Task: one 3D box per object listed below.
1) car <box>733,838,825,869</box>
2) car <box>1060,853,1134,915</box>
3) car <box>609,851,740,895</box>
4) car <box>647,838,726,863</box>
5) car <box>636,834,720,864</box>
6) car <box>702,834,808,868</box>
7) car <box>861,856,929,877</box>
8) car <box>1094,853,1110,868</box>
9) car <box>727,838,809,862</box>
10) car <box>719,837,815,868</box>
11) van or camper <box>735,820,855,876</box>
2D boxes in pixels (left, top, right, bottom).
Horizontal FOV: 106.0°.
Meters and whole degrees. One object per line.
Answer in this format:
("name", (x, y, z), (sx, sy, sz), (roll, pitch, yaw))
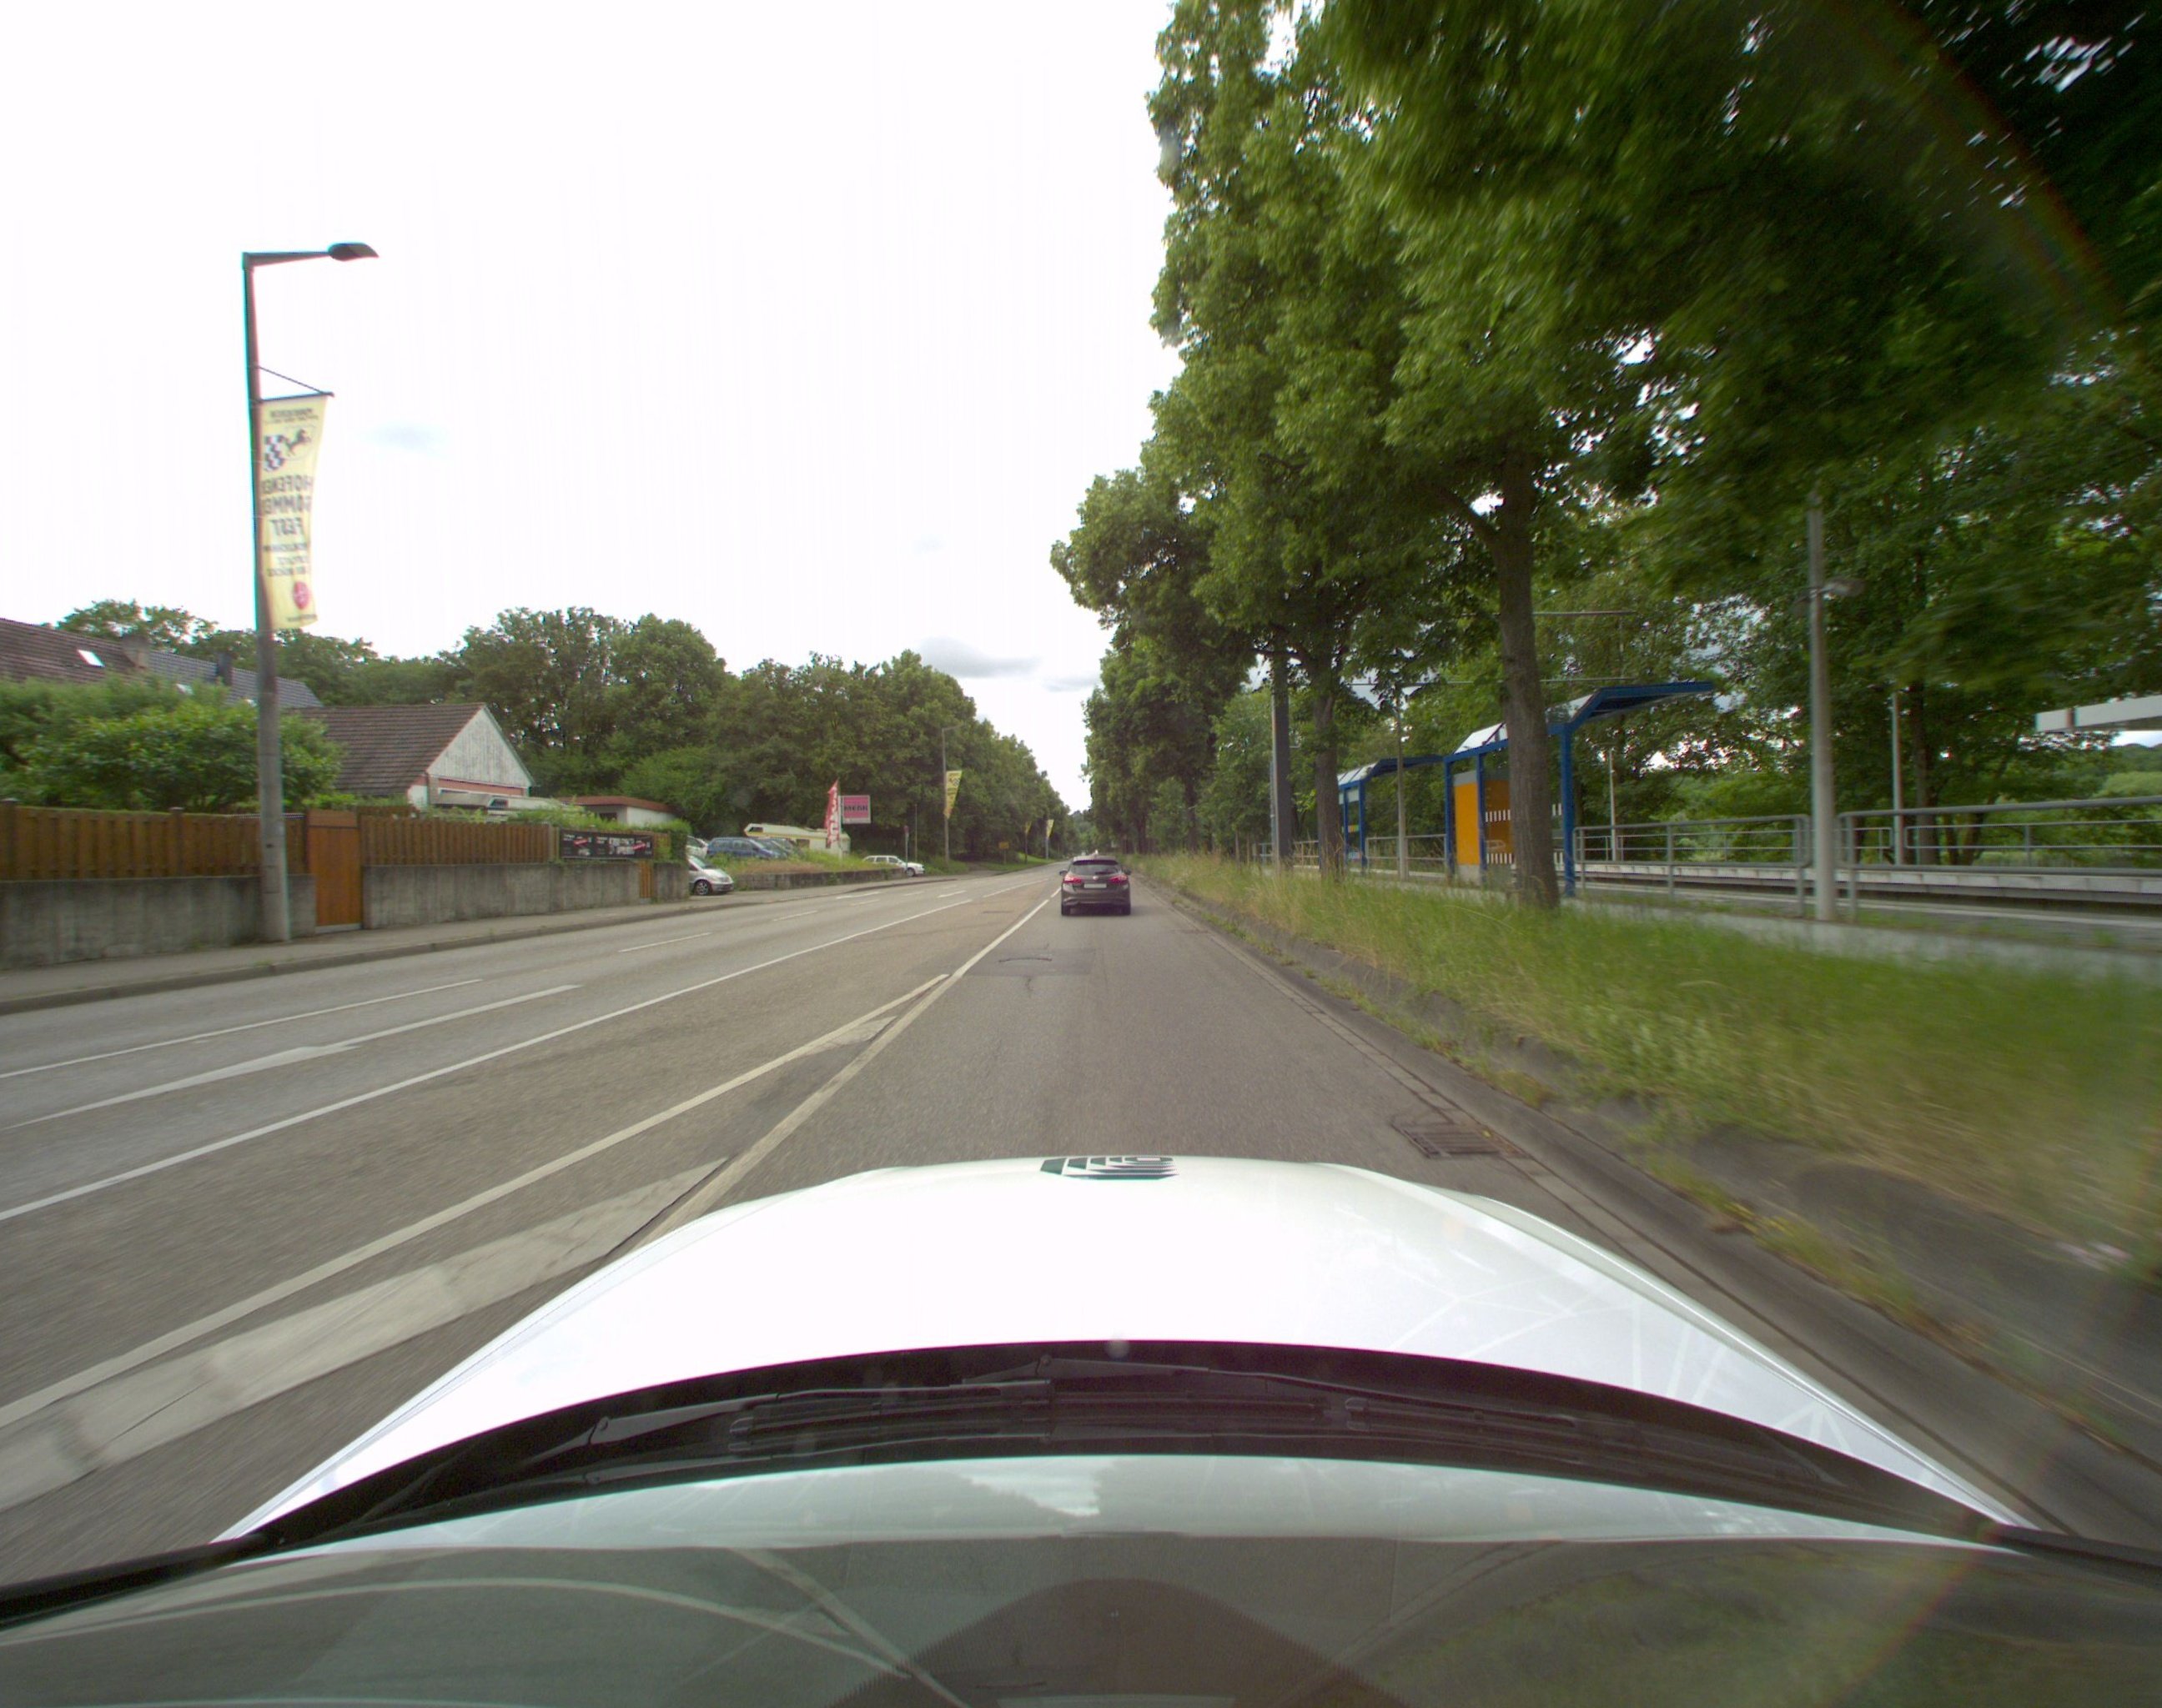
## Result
("car", (-15.077, -0.020, 40.767), (3.967, 1.492, 1.650), (0, -1, 5))
("car", (0.490, 0.755, 21.995), (1.830, 1.528, 3.931), (0, 0, 3))
("car", (-15.518, 0.720, 31.239), (3.971, 1.617, 2.001), (0, -1, 2))
("car", (-23.256, -0.211, 48.070), (3.726, 1.400, 1.849), (0, -1, 5))
("car", (-19.082, -0.235, 38.788), (1.842, 1.342, 4.399), (-1, 0, -1))
("car", (-14.735, -0.130, 36.936), (3.967, 1.497, 1.862), (0, -1, 5))
("car", (-12.993, 0.883, 57.115), (4.363, 1.441, 1.960), (0, 0, -2))
("car", (2.082, 0.638, 80.147), (1.497, 1.528, 3.674), (0, 0, 3))
("car", (-18.468, -0.205, 48.142), (3.967, 1.370, 2.003), (0, -1, 5))
("car", (-14.923, -0.056, 38.807), (3.967, 1.411, 1.536), (0, -1, 5))
("van or camper", (-19.883, -0.406, 56.970), (7.116, 3.371, 2.797), (4, 0, 1))
